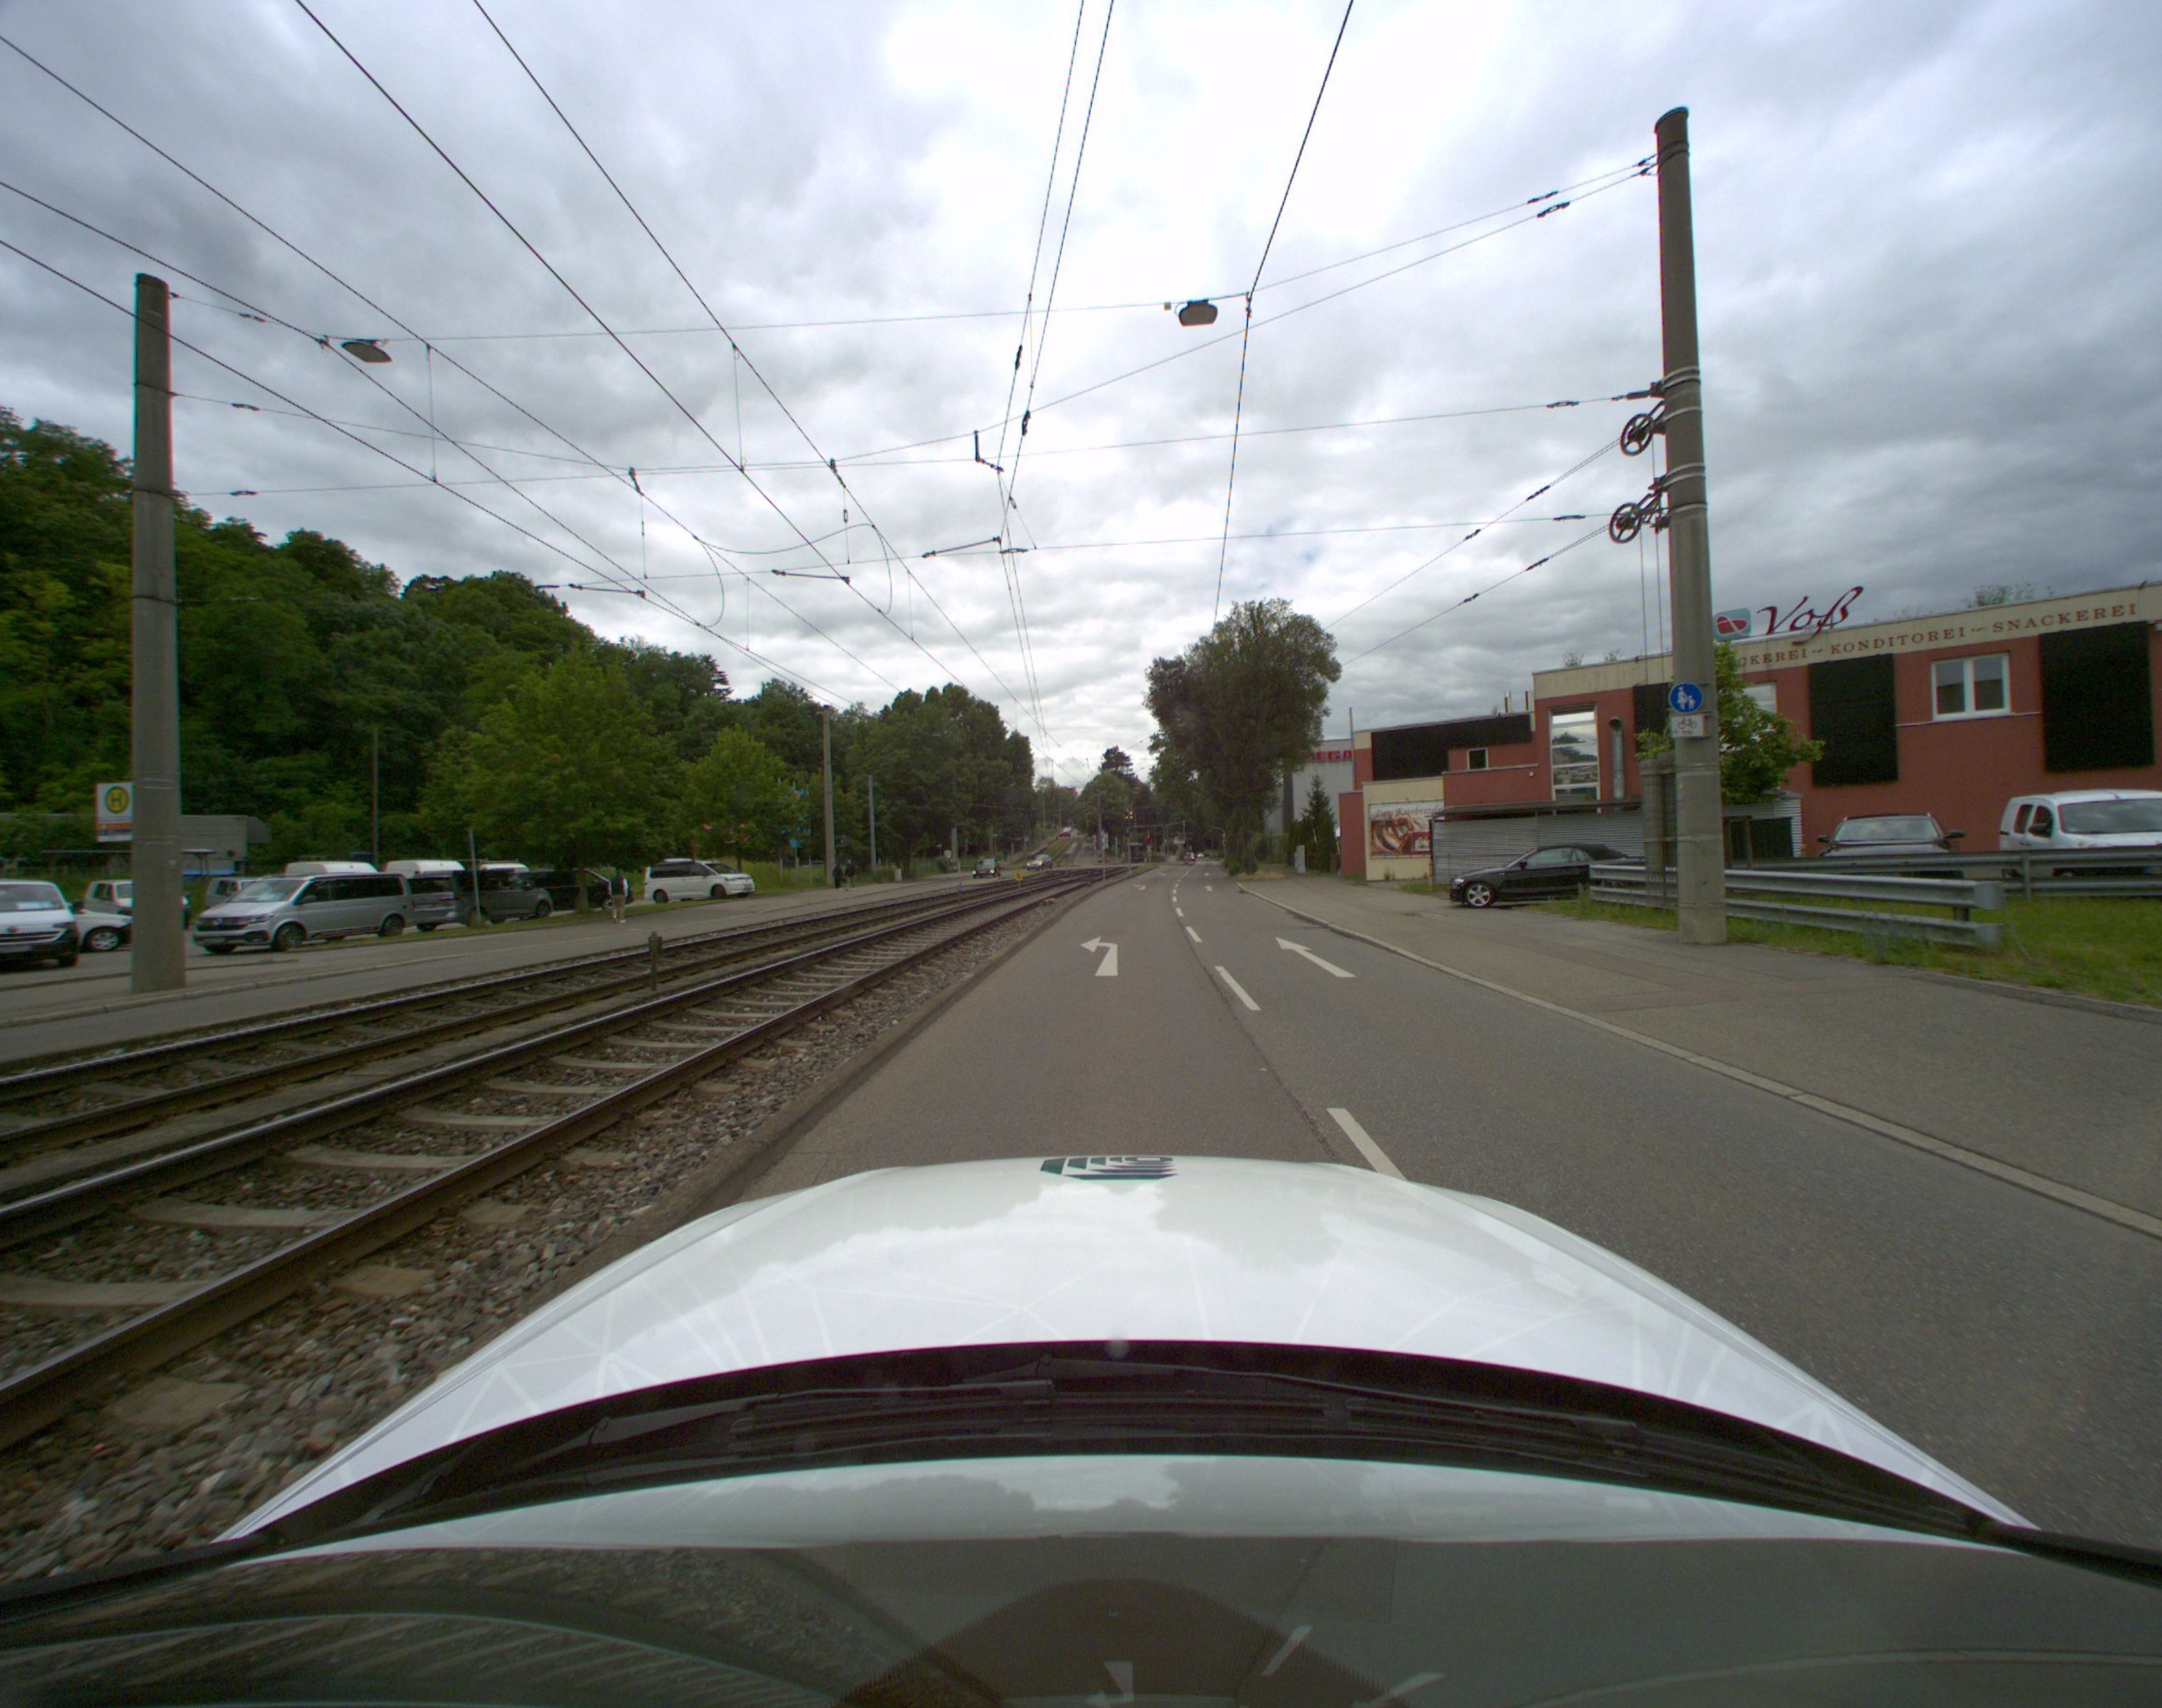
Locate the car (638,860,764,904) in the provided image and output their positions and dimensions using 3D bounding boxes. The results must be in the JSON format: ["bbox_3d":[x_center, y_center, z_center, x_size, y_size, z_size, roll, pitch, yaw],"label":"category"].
[{"bbox_3d":[-17.943,1.304,38.530,5.022,1.888,2.174,-2,0,12],"label":"car"}]

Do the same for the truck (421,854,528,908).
[{"bbox_3d":[-31.715,1.401,42.577,5.008,2.588,2.484,-2,0,27],"label":"truck"}]

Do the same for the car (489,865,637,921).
[{"bbox_3d":[-21.825,1.587,34.494,5.093,2.013,2.143,-2,0,-34],"label":"car"}]

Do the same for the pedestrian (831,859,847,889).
[{"bbox_3d":[-14.010,1.175,47.164,0.625,1.713,0.857,0,0,5],"label":"pedestrian"}]

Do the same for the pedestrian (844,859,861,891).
[{"bbox_3d":[-13.183,1.221,47.033,0.673,1.813,0.857,0,0,5],"label":"pedestrian"}]

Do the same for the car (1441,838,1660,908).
[{"bbox_3d":[10.691,0.387,18.778,4.179,1.443,1.774,0,1,30],"label":"car"}]

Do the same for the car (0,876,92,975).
[{"bbox_3d":[-24.479,1.586,18.319,4.670,2.013,2.013,-2,0,30],"label":"car"}]

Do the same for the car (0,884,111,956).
[{"bbox_3d":[-32.438,2.013,24.087,1.974,2.013,4.495,-2,0,29],"label":"car"}]

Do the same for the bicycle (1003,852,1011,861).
[{"bbox_3d":[-11.551,0.426,126.941,0.821,1.343,2.997,-2,0,1],"label":"bicycle"}]

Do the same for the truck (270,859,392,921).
[{"bbox_3d":[-34.373,1.650,37.309,5.008,2.588,2.484,-2,0,27],"label":"truck"}]

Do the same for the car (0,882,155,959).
[{"bbox_3d":[-27.883,1.764,21.291,1.974,1.831,4.495,-2,0,29],"label":"car"}]

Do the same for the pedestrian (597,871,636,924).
[{"bbox_3d":[-15.093,1.402,26.477,0.717,1.655,1.041,0,0,-5],"label":"pedestrian"}]

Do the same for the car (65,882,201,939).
[{"bbox_3d":[-36.814,2.175,31.635,4.217,2.013,1.991,-2,0,20],"label":"car"}]

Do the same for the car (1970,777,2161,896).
[{"bbox_3d":[17.922,-0.313,14.502,1.836,1.832,4.571,-2,0,35],"label":"car"}]

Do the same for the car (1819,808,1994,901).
[{"bbox_3d":[15.873,-0.047,15.858,2.134,1.548,4.548,-1,1,43],"label":"car"}]

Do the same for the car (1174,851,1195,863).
[{"bbox_3d":[13.893,0.415,108.885,1.978,1.515,4.521,-1,0,18],"label":"car"}]

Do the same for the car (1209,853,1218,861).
[{"bbox_3d":[35.450,0.797,218.259,1.984,1.816,4.006,-2,0,5],"label":"car"}]

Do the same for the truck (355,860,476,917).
[{"bbox_3d":[-32.705,1.702,39.993,5.705,2.588,2.484,-2,0,27],"label":"truck"}]

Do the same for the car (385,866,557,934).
[{"bbox_3d":[-21.033,1.489,28.432,1.986,2.013,5.131,-2,0,1],"label":"car"}]

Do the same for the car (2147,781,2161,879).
[{"bbox_3d":[19.856,-0.430,13.231,1.794,1.832,4.470,-2,0,36],"label":"car"}]

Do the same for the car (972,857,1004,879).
[{"bbox_3d":[-7.394,1.059,64.938,1.680,1.532,4.259,-5,0,3],"label":"car"}]

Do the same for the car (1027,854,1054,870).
[{"bbox_3d":[-4.302,0.829,86.631,1.879,1.532,4.268,-5,0,10],"label":"car"}]

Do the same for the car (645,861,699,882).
[{"bbox_3d":[-41.475,1.746,82.631,1.974,2.013,4.431,-2,0,34],"label":"car"}]

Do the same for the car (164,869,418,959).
[{"bbox_3d":[-21.151,1.490,22.198,1.986,2.013,4.920,-2,0,1],"label":"car"}]

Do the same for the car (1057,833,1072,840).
[{"bbox_3d":[-4.800,-5.158,238.495,3.959,2.013,2.007,-2,0,13],"label":"car"}]

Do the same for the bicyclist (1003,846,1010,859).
[{"bbox_3d":[-11.561,-0.237,126.735,0.818,1.849,1.052,-2,0,1],"label":"bicyclist"}]

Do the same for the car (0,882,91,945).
[{"bbox_3d":[-37.984,2.084,28.186,4.274,2.013,1.989,-1,1,-17],"label":"car"}]
